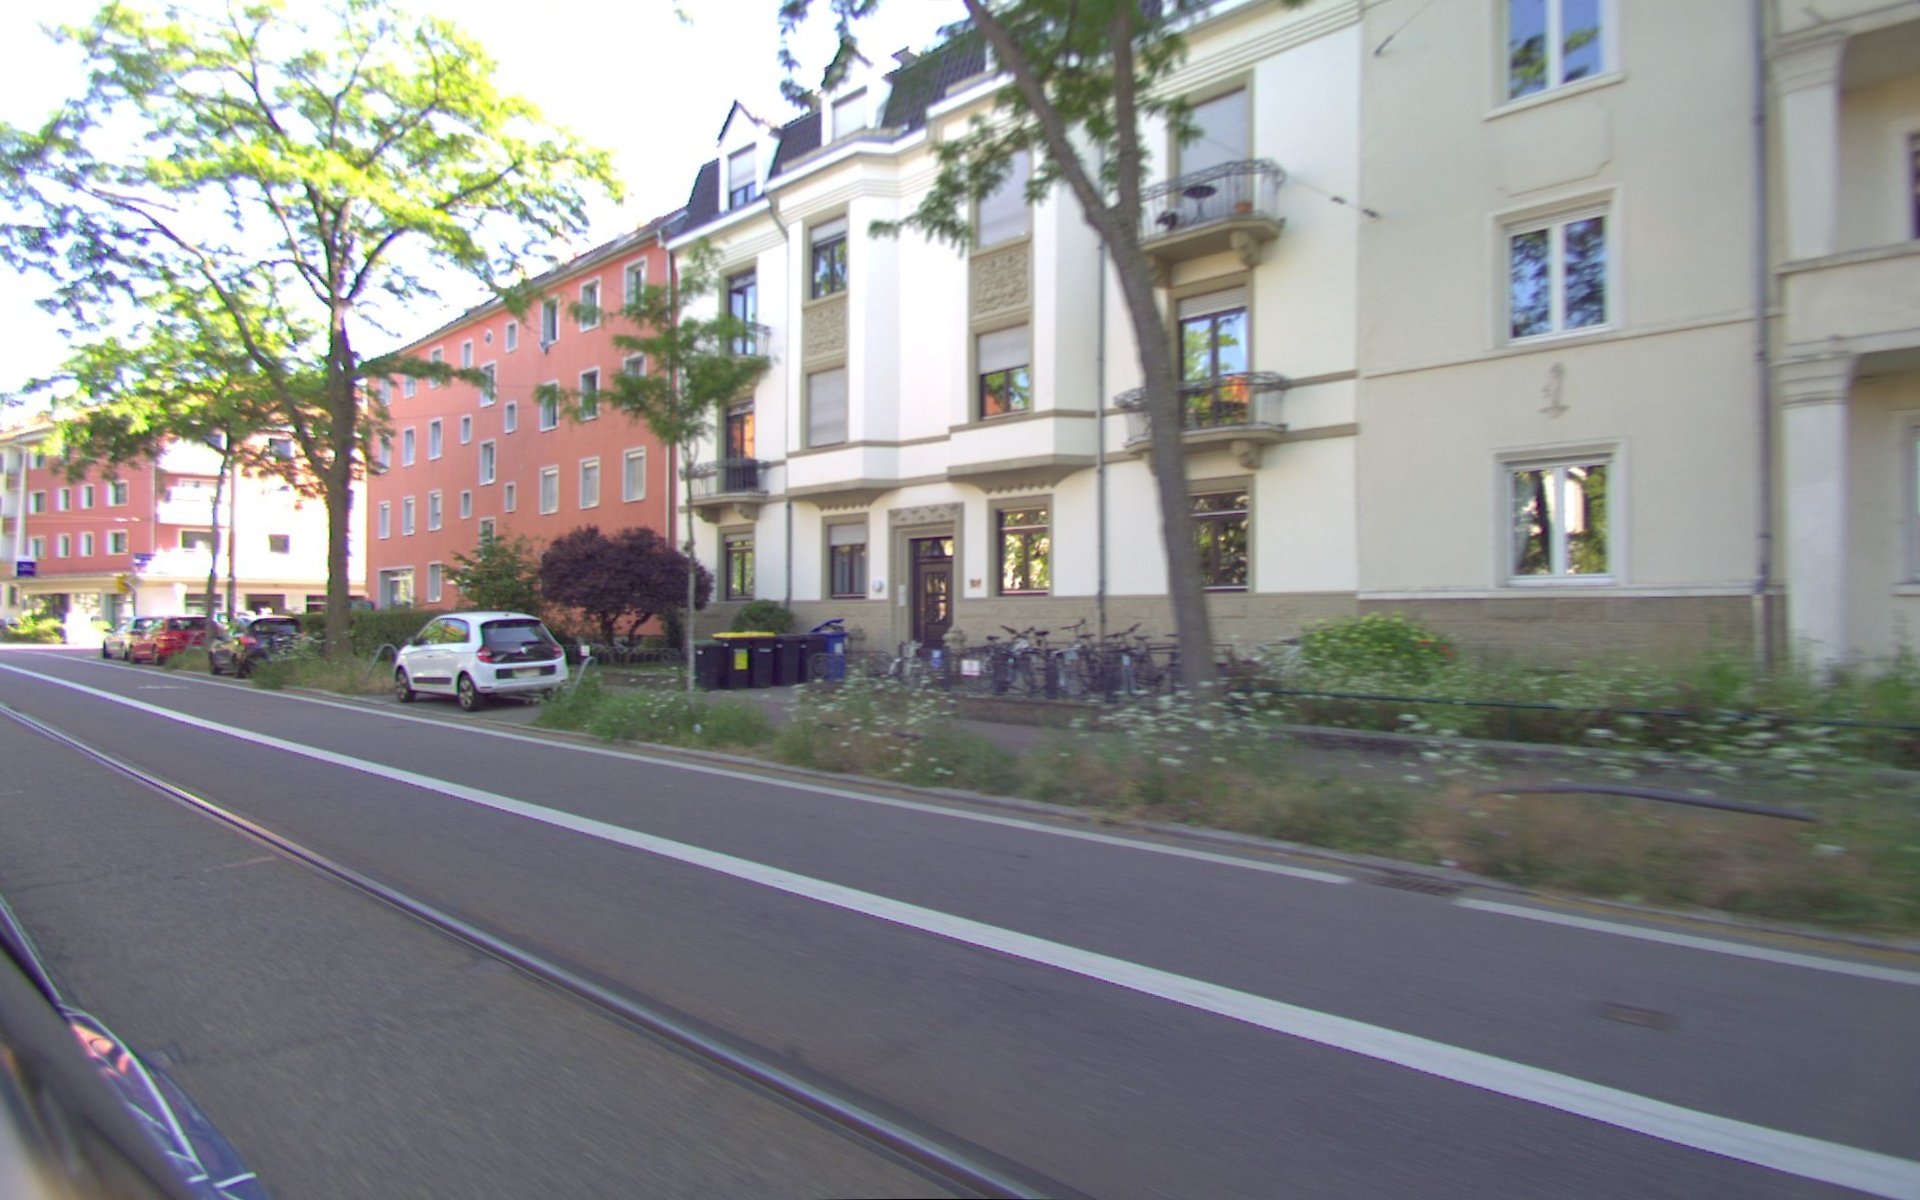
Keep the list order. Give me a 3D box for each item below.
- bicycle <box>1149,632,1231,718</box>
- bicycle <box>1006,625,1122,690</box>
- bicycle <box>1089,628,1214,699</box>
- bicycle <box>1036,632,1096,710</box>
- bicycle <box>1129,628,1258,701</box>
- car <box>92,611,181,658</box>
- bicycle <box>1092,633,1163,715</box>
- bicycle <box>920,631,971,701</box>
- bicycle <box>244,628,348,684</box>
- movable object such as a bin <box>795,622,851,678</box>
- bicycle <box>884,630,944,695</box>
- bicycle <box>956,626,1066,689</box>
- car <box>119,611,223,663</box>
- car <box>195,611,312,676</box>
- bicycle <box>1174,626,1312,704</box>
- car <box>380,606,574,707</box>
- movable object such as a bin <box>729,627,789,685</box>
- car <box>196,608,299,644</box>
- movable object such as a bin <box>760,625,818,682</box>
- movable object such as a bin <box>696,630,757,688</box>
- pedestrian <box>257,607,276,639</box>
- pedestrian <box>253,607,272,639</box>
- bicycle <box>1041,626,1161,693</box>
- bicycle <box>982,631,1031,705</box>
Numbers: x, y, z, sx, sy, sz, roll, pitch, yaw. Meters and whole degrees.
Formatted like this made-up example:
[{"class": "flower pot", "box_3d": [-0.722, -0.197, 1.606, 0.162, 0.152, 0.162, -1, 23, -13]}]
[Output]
[{"class": "bicycle", "box_3d": [2.931, 0.928, 13.075, 0.550, 1.004, 1.863, 0, -1, -3]}, {"class": "bicycle", "box_3d": [1.758, 0.965, 17.212, 1.833, 1.004, 0.559, -2, -1, -8]}, {"class": "bicycle", "box_3d": [3.009, 0.980, 15.906, 1.831, 1.004, 0.560, -2, -1, -15]}, {"class": "bicycle", "box_3d": [1.466, 0.959, 14.244, 0.550, 1.004, 1.863, 0, -1, -3]}, {"class": "bicycle", "box_3d": [3.534, 0.954, 15.331, 1.831, 1.004, 0.560, -2, -1, -15]}, {"class": "car", "box_3d": [-27.908, 1.129, 34.269, 4.092, 1.517, 1.558, -1, 0, 39]}, {"class": "bicycle", "box_3d": [2.206, 0.949, 13.517, 0.550, 1.004, 1.863, 0, -1, -3]}, {"class": "bicycle", "box_3d": [-0.204, 1.002, 15.813, 0.551, 1.004, 1.858, 0, -1, 7]}, {"class": "bicycle", "box_3d": [-14.380, 1.194, 21.956, 0.542, 1.129, 1.793, -1, -1, 41]}, {"class": "movable object such as a bin", "box_3d": [-2.820, 1.011, 20.825, 0.895, 1.122, 0.730, -1, -2, 41]}, {"class": "bicycle", "box_3d": [-0.743, 1.010, 16.818, 0.552, 1.004, 1.855, 0, -1, 12]}, {"class": "bicycle", "box_3d": [0.892, 0.999, 17.829, 1.833, 1.004, 0.559, -2, -1, -8]}, {"class": "car", "box_3d": [-24.070, 1.096, 30.834, 4.091, 1.465, 1.558, -1, 0, 38]}, {"class": "car", "box_3d": [-17.547, 1.026, 25.095, 3.666, 1.465, 1.538, -1, 0, 41]}, {"class": "bicycle", "box_3d": [4.050, 0.911, 14.484, 1.831, 1.004, 0.560, -2, -1, -15]}, {"class": "car", "box_3d": [-8.349, 0.895, 17.394, 3.686, 1.546, 1.609, -1, 0, 39]}, {"class": "movable object such as a bin", "box_3d": [-3.885, 1.066, 19.539, 0.895, 1.062, 0.730, -1, -2, 41]}, {"class": "car", "box_3d": [-36.599, 1.353, 52.108, 4.216, 1.793, 1.793, 1, -2, -33]}, {"class": "movable object such as a bin", "box_3d": [-3.397, 1.039, 20.118, 0.895, 1.093, 0.730, -1, -2, 41]}, {"class": "movable object such as a bin", "box_3d": [-4.378, 1.084, 18.977, 0.895, 1.049, 0.730, -1, -2, 41]}, {"class": "pedestrian", "box_3d": [-39.423, 1.299, 57.558, 0.791, 1.779, 0.510, 1, -2, -30]}, {"class": "pedestrian", "box_3d": [-39.080, 1.288, 56.713, 0.791, 1.779, 0.510, 1, -2, -30]}, {"class": "bicycle", "box_3d": [2.292, 0.958, 16.525, 1.833, 1.004, 0.559, -2, -1, -8]}, {"class": "bicycle", "box_3d": [0.666, 0.980, 15.014, 0.550, 1.004, 1.863, 0, -1, -3]}]
